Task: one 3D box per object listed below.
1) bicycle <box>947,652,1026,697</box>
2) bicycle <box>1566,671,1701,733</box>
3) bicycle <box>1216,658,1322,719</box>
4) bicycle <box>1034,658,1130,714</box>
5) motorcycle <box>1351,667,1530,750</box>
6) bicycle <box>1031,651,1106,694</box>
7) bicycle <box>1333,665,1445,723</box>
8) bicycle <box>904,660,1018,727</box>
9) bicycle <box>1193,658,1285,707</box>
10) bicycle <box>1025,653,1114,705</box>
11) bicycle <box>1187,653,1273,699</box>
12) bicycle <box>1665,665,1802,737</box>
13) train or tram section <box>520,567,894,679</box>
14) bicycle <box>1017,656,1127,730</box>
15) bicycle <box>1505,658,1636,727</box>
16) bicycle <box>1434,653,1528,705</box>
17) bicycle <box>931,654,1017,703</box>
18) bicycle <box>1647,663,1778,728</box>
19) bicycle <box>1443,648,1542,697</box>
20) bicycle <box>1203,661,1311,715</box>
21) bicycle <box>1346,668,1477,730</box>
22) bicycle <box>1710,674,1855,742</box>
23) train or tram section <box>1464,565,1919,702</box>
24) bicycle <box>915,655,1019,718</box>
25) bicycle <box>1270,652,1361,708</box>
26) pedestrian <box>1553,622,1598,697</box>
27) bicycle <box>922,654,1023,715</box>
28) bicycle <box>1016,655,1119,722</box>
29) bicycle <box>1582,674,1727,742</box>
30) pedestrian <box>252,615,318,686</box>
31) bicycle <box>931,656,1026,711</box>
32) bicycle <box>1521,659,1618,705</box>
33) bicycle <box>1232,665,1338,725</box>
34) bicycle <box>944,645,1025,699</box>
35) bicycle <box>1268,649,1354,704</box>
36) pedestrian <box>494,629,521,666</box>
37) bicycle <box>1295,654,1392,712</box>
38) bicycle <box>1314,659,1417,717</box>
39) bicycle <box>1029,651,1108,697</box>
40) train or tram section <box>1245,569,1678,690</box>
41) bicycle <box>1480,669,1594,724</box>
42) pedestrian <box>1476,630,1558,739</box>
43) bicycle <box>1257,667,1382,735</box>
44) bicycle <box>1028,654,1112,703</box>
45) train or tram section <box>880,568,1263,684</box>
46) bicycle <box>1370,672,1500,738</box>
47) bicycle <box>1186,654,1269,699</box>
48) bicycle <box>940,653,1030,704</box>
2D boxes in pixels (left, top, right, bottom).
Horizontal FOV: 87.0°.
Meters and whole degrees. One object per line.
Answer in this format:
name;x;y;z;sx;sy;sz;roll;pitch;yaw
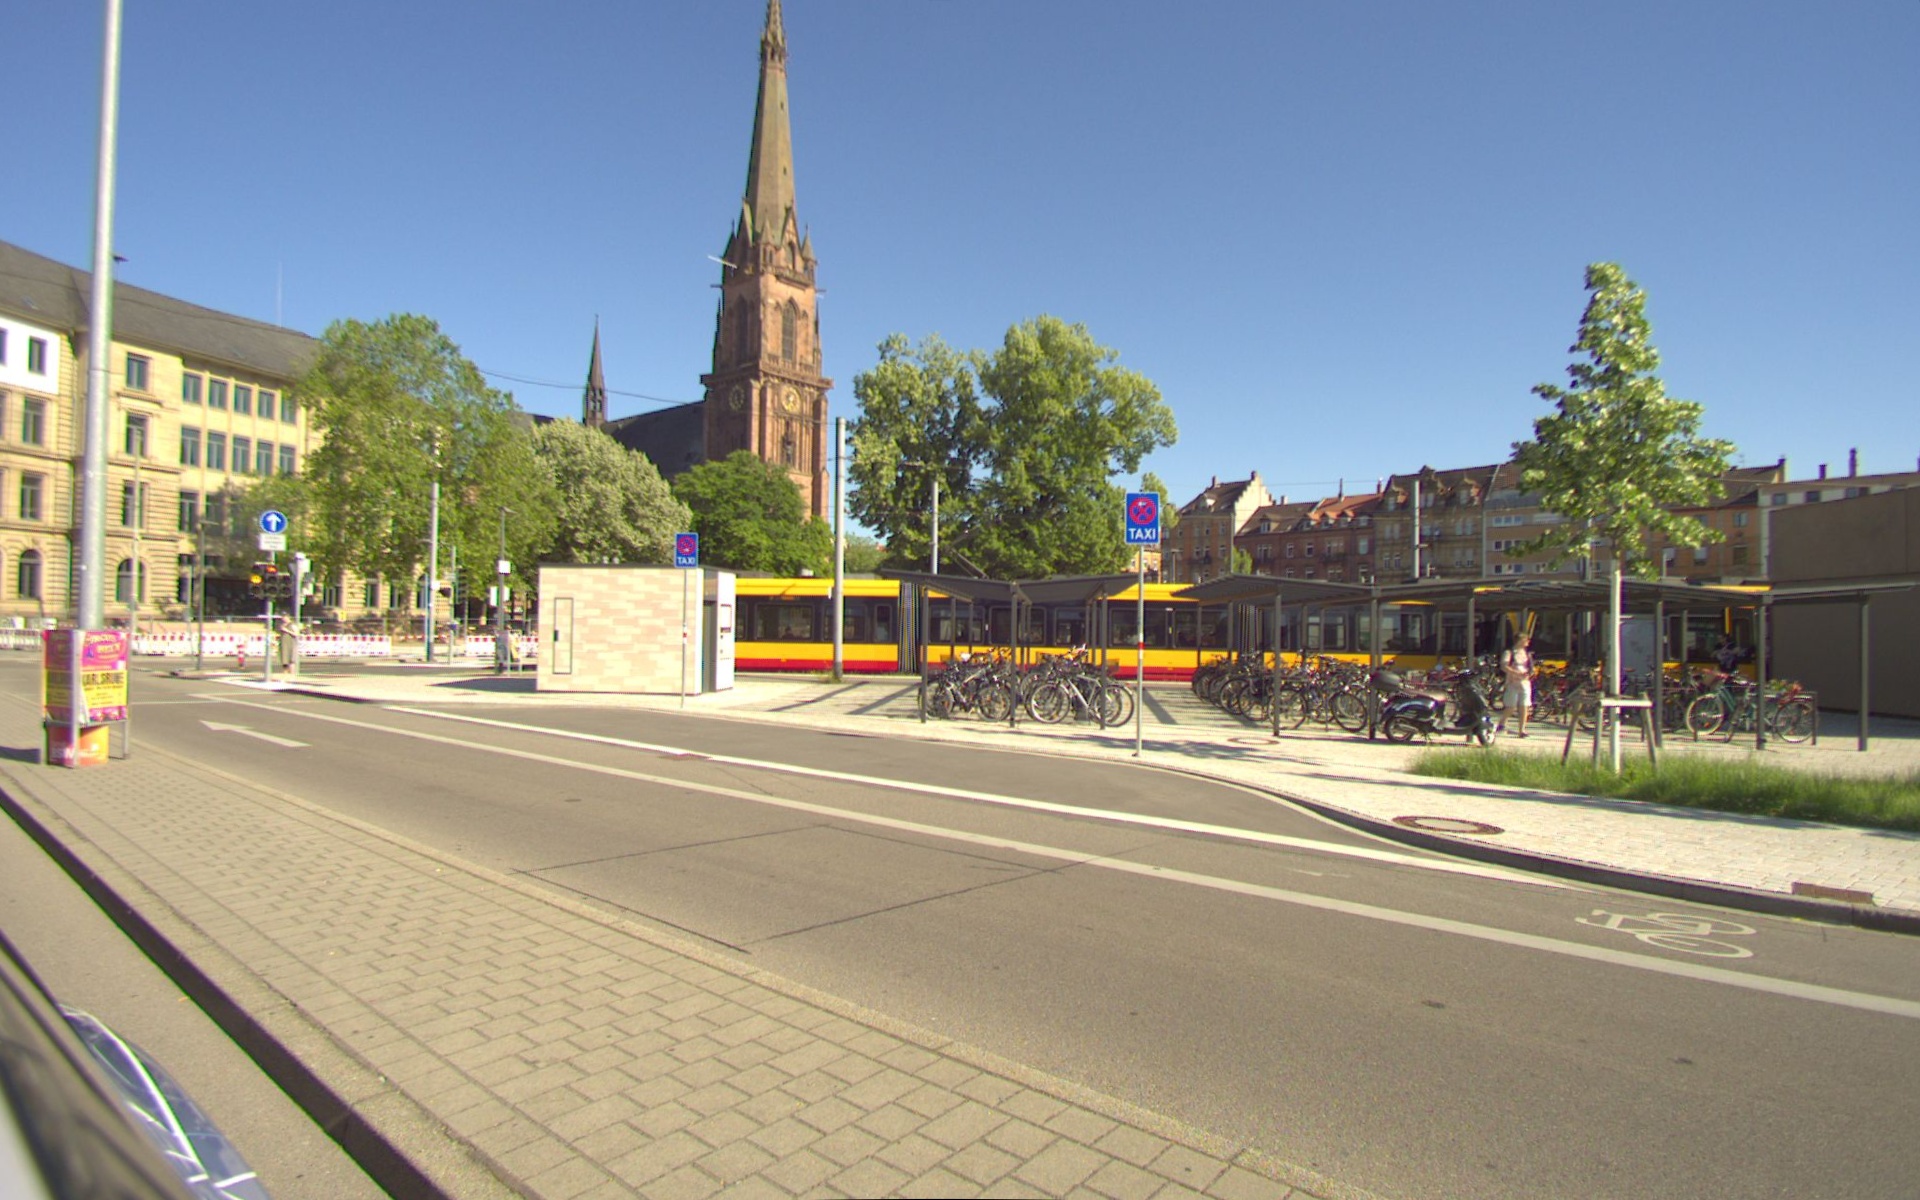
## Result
bicycle;0.639;1.758;24.103;1.809;1.015;0.627;0;-2;9
bicycle;11.622;1.748;17.514;1.872;1.004;0.499;0;-2;13
bicycle;5.895;1.689;19.399;1.859;1.101;0.626;0;-2;8
bicycle;2.340;1.642;19.529;1.808;1.015;0.745;0;-2;7
motorcycle;7.187;1.610;15.222;2.333;1.167;0.610;0;-2;7
bicycle;2.651;1.766;24.798;1.808;1.015;0.627;0;-2;7
bicycle;8.020;1.755;18.959;1.808;1.015;0.627;0;-2;7
bicycle;0.025;1.589;17.358;1.847;1.015;0.699;2;-2;9
bicycle;5.989;1.764;21.795;1.805;1.015;0.629;0;-2;0
bicycle;2.248;1.616;20.837;1.808;1.015;0.627;0;-2;7
bicycle;6.140;1.728;23.099;1.807;1.015;0.628;0;-2;5
bicycle;13.010;1.694;17.053;1.805;1.155;0.629;0;-2;0
train or tram section;-8.643;0.781;35.118;12.382;3.628;2.796;0;-2;6
bicycle;1.884;1.562;17.122;1.808;1.167;0.627;1;-2;7
bicycle;11.316;1.709;18.790;2.029;1.218;0.505;0;-2;8
bicycle;12.020;1.821;23.392;1.809;1.140;0.627;0;-2;9
bicycle;0.308;1.698;22.160;1.809;1.015;0.627;0;-2;9
bicycle;13.610;1.722;18.349;1.808;1.101;0.627;0;-2;7
bicycle;11.706;1.584;22.296;1.809;1.015;0.627;0;-2;9
bicycle;5.968;1.767;20.420;1.978;1.015;0.628;0;-2;4
bicycle;7.938;1.737;17.865;2.003;1.015;0.627;0;-2;7
bicycle;13.039;1.701;16.066;1.803;1.015;0.629;1;-2;-3
train or tram section;21.265;0.897;28.715;12.179;3.628;2.748;0;-2;7
bicycle;0.135;1.544;18.225;1.809;1.074;0.627;0;-2;9
bicycle;7.948;1.774;22.667;1.808;1.198;0.647;0;-2;7
pedestrian;15.574;1.489;25.610;0.700;1.869;0.751;2;-2;-38
bicycle;0.232;1.550;18.754;1.809;1.059;0.571;0;-2;9
bicycle;1.929;1.584;18.264;1.808;1.157;0.627;0;-2;7
bicycle;11.178;1.728;16.338;1.809;1.015;0.627;0;-2;9
pedestrian;-18.116;1.339;27.184;0.825;1.869;1.215;-1;-2;34
bicycle;0.380;1.642;19.973;1.809;1.015;0.627;0;-2;9
bicycle;14.072;1.888;23.395;1.808;1.015;0.627;0;-2;7
bicycle;5.805;1.692;18.133;1.731;1.015;0.547;0;-2;10
bicycle;0.581;1.654;23.403;1.809;1.188;0.627;0;-2;9
bicycle;8.255;1.792;23.865;1.808;1.242;0.627;0;-2;7
pedestrian;-21.821;2.272;48.814;0.923;1.754;0.805;0;-2;5
bicycle;8.130;1.753;21.517;1.808;1.170;0.627;0;-2;7
bicycle;8.093;1.753;20.251;1.808;1.088;0.627;0;-2;7
bicycle;2.529;1.710;23.598;1.808;1.015;0.627;0;-2;7
train or tram section;15.690;0.920;32.554;12.174;3.628;2.828;0;-2;6
bicycle;11.281;1.879;19.830;1.809;1.015;0.627;0;-2;9
pedestrian;9.165;1.361;16.697;0.829;1.718;1.022;0;-2;7
bicycle;5.997;1.683;16.967;1.871;1.050;0.688;0;-2;9
bicycle;2.397;1.695;22.112;1.808;1.015;0.627;0;-2;7
train or tram section;3.571;0.834;33.829;12.174;3.628;2.796;0;-2;6
bicycle;7.787;1.710;16.639;1.808;1.015;0.627;0;-2;7
bicycle;6.270;1.793;23.787;1.808;1.015;0.627;0;-2;6
bicycle;0.532;1.622;21.128;1.809;1.015;0.627;0;-2;9
